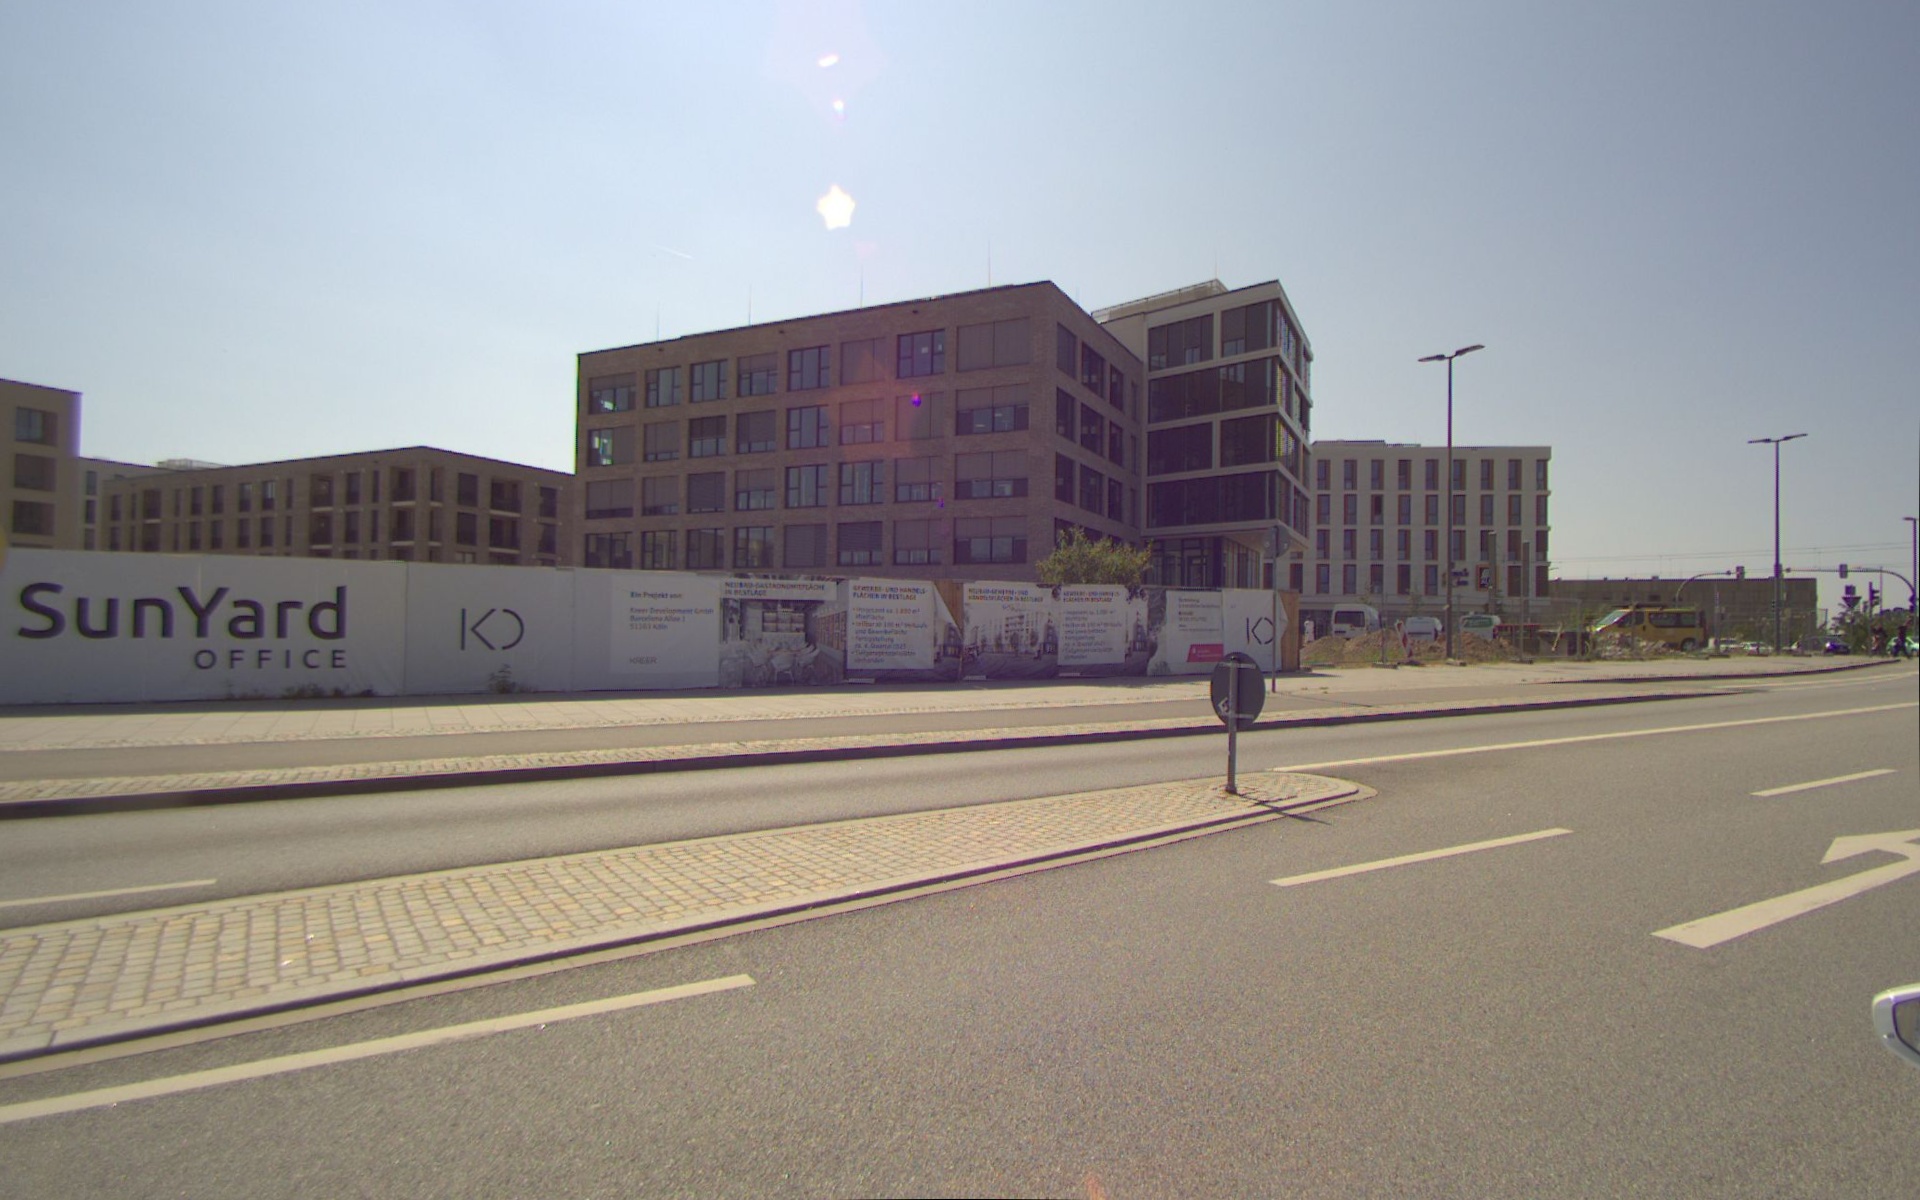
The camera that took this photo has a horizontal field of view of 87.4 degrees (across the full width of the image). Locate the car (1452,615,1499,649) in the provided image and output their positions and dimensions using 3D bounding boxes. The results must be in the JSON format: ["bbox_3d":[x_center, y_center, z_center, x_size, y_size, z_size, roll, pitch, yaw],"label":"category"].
[{"bbox_3d":[27.034,1.671,52.632,1.996,1.694,4.592,0,-1,30],"label":"car"}]

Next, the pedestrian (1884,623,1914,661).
[{"bbox_3d":[42.181,1.870,45.129,0.819,1.668,0.839,1,-1,-35],"label":"pedestrian"}]

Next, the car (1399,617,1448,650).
[{"bbox_3d":[25.006,1.783,54.129,1.996,1.694,4.592,0,-1,30],"label":"car"}]

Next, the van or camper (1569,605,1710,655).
[{"bbox_3d":[29.631,1.307,43.948,4.622,1.922,2.001,2,-1,13],"label":"van or camper"}]

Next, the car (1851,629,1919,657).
[{"bbox_3d":[65.419,3.004,70.394,1.968,1.795,3.986,3,-1,-17],"label":"car"}]

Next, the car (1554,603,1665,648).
[{"bbox_3d":[30.712,1.210,47.582,3.919,2.040,2.001,1,-1,9],"label":"car"}]

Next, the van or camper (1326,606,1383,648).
[{"bbox_3d":[21.787,1.485,55.338,2.207,2.040,4.592,4,1,30],"label":"van or camper"}]
